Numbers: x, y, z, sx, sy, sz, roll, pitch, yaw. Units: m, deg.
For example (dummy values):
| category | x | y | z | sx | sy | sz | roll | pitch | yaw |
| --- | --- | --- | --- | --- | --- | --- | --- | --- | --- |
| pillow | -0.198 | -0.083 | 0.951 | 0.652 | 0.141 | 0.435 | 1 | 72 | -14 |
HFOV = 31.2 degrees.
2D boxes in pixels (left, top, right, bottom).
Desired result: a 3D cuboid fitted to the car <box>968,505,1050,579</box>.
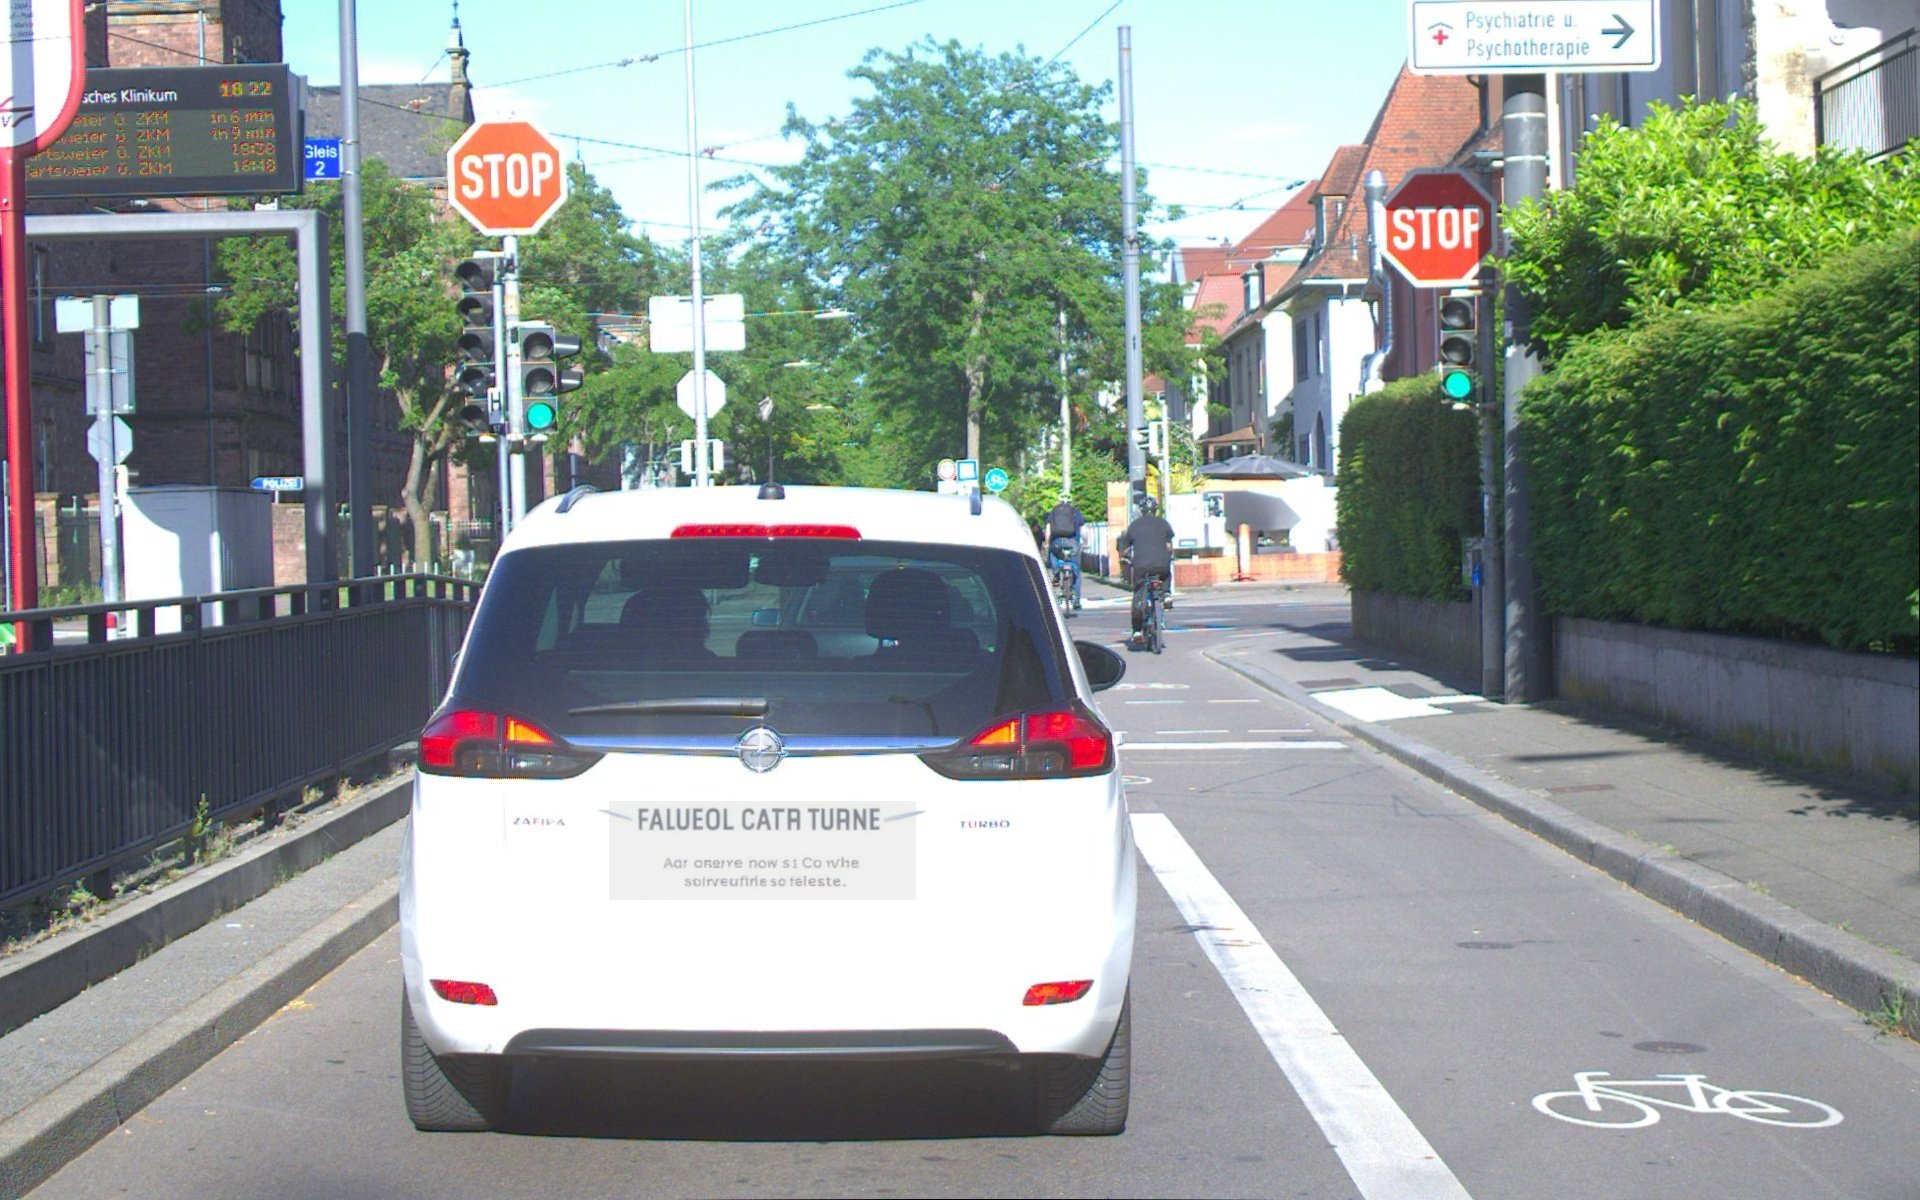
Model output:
| category | x | y | z | sx | sy | sz | roll | pitch | yaw |
| --- | --- | --- | --- | --- | --- | --- | --- | --- | --- |
| car | 1.152 | -1.343 | 79.372 | 1.776 | 1.626 | 3.880 | -1 | 1 | 2 |

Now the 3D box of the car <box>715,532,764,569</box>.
| category | x | y | z | sx | sy | sz | roll | pitch | yaw |
| --- | --- | --- | --- | --- | --- | --- | --- | --- | --- |
| car | -8.837 | -1.977 | 137.841 | 1.581 | 1.436 | 3.584 | -1 | 1 | 2 |

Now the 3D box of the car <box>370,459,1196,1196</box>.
| category | x | y | z | sx | sy | sz | roll | pitch | yaw |
| --- | --- | --- | --- | --- | --- | --- | --- | --- | --- |
| car | -0.384 | 0.479 | 9.687 | 1.835 | 1.636 | 3.919 | -1 | 1 | 0 |

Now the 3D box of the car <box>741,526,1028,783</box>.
| category | x | y | z | sx | sy | sz | roll | pitch | yaw |
| --- | --- | --- | --- | --- | --- | --- | --- | --- | --- |
| car | -0.398 | 0.274 | 21.812 | 1.586 | 1.415 | 3.900 | -2 | 2 | 2 |

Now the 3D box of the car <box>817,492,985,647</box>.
| category | x | y | z | sx | sy | sz | roll | pitch | yaw |
| --- | --- | --- | --- | --- | --- | --- | --- | --- | --- |
| car | -0.632 | -0.356 | 38.609 | 1.776 | 1.626 | 3.881 | -1 | 1 | 0 |

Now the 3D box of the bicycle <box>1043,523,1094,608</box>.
| category | x | y | z | sx | sy | sz | roll | pitch | yaw |
| --- | --- | --- | --- | --- | --- | --- | --- | --- | --- |
| bicycle | 1.529 | -0.489 | 48.112 | 0.685 | 1.153 | 1.619 | -1 | 1 | 2 |

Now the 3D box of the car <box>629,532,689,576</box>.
| category | x | y | z | sx | sy | sz | roll | pitch | yaw |
| --- | --- | --- | --- | --- | --- | --- | --- | --- | --- |
| car | -10.103 | -1.564 | 115.665 | 1.581 | 1.436 | 3.584 | -1 | 1 | 2 |

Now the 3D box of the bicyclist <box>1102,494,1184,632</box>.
| category | x | y | z | sx | sy | sz | roll | pitch | yaw |
| --- | --- | --- | --- | --- | --- | --- | --- | --- | --- |
| bicyclist | 2.019 | -0.408 | 38.047 | 0.821 | 1.496 | 0.934 | -1 | 1 | -1 |

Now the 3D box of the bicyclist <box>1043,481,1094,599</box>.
| category | x | y | z | sx | sy | sz | roll | pitch | yaw |
| --- | --- | --- | --- | --- | --- | --- | --- | --- | --- |
| bicyclist | 1.521 | -0.845 | 48.134 | 0.685 | 1.629 | 1.015 | -1 | 1 | 2 |

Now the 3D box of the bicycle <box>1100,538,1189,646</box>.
| category | x | y | z | sx | sy | sz | roll | pitch | yaw |
| --- | --- | --- | --- | --- | --- | --- | --- | --- | --- |
| bicycle | 2.030 | -0.102 | 38.110 | 0.829 | 1.150 | 2.095 | -1 | 1 | -1 |
